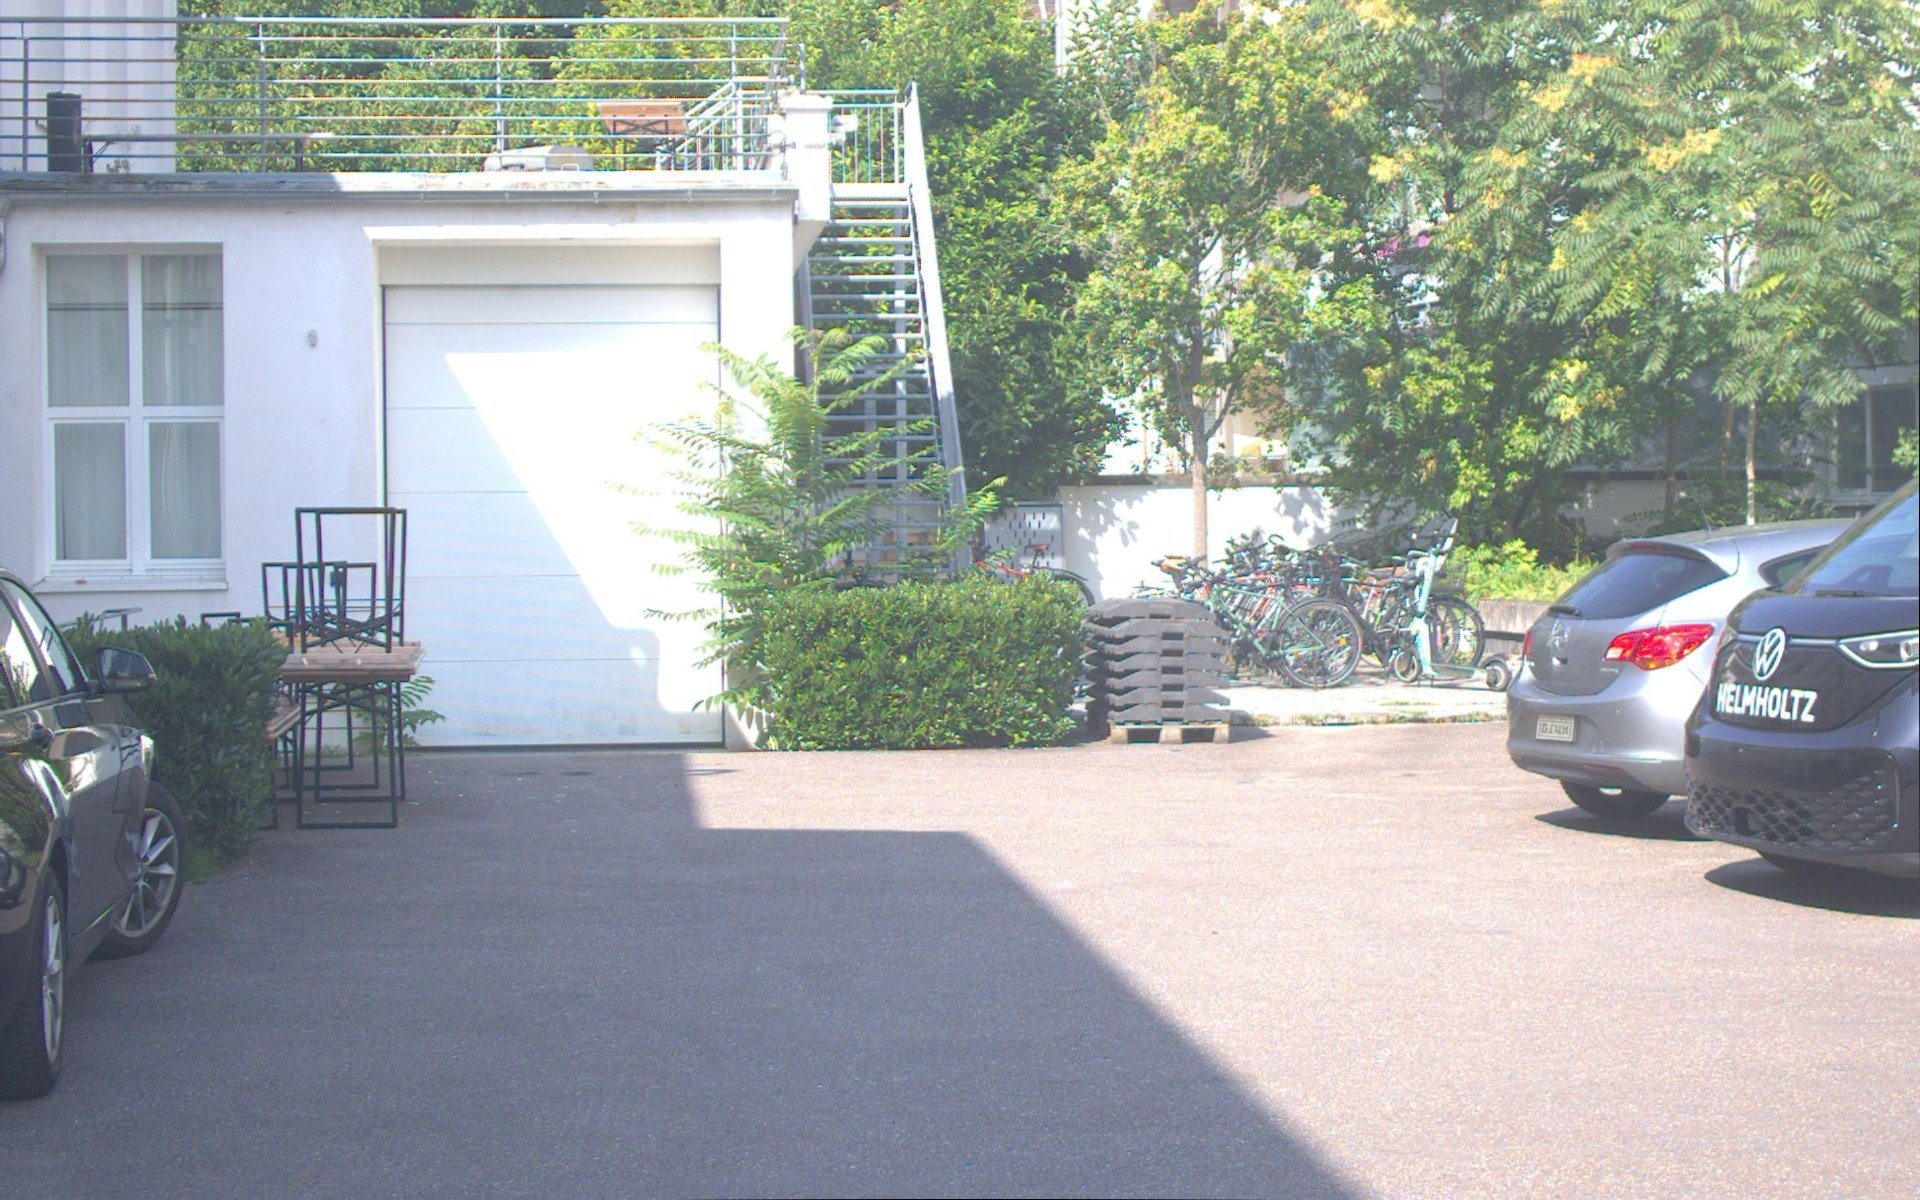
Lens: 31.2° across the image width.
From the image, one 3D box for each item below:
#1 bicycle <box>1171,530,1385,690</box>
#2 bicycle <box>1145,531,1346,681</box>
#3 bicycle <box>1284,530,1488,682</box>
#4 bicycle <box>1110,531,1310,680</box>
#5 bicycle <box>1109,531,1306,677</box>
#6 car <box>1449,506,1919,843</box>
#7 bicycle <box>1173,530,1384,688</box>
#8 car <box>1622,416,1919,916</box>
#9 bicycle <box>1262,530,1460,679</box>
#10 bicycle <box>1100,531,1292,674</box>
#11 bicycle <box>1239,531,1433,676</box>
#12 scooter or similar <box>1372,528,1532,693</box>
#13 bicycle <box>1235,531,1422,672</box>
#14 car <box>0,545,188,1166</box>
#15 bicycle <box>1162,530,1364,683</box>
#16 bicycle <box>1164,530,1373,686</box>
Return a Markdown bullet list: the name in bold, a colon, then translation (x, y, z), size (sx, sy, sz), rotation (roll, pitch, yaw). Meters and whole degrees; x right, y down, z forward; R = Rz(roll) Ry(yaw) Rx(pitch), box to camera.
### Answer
- **bicycle**: translation (2.512, 0.073, 27.186), size (1.623, 1.210, 0.327), rotation (-2, 1, -3)
- **bicycle**: translation (2.376, 0.049, 28.610), size (1.623, 1.210, 0.327), rotation (-1, 1, 8)
- **bicycle**: translation (3.497, 0.050, 28.238), size (1.624, 1.210, 0.327), rotation (-1, 1, 10)
- **bicycle**: translation (2.127, 0.040, 29.269), size (1.623, 1.210, 0.424), rotation (-2, 1, -6)
- **bicycle**: translation (2.153, 0.029, 29.908), size (1.622, 1.210, 0.424), rotation (-2, 1, -10)
- **car**: translation (4.555, 0.293, 16.629), size (3.931, 1.477, 1.775), rotation (-1, 1, -14)
- **bicycle**: translation (2.549, 0.067, 27.512), size (1.623, 1.210, 0.327), rotation (-2, 1, -3)
- **car**: translation (5.150, 0.180, 13.780), size (4.499, 1.788, 1.884), rotation (-1, 1, -14)
- **bicycle**: translation (3.398, 0.036, 29.093), size (1.623, 1.210, 0.424), rotation (-1, 1, 8)
- **bicycle**: translation (2.093, 0.019, 30.507), size (1.622, 1.210, 0.424), rotation (-2, 1, -10)
- **bicycle**: translation (3.245, 0.028, 29.659), size (1.623, 1.210, 0.424), rotation (-1, 1, 7)
- **scooter or similar**: translation (3.862, 0.075, 27.053), size (0.378, 1.256, 1.348), rotation (-2, 2, -37)
- **bicycle**: translation (3.294, 0.010, 30.693), size (1.623, 1.210, 0.424), rotation (-1, 1, 7)
- **car**: translation (-3.298, 0.575, 9.918), size (1.688, 1.454, 3.924), rotation (0, 1, -7)
- **bicycle**: translation (2.488, 0.055, 28.254), size (1.623, 1.210, 0.327), rotation (-1, 1, 5)
- **bicycle**: translation (2.493, 0.062, 27.802), size (1.623, 1.210, 0.327), rotation (-2, 1, -3)
